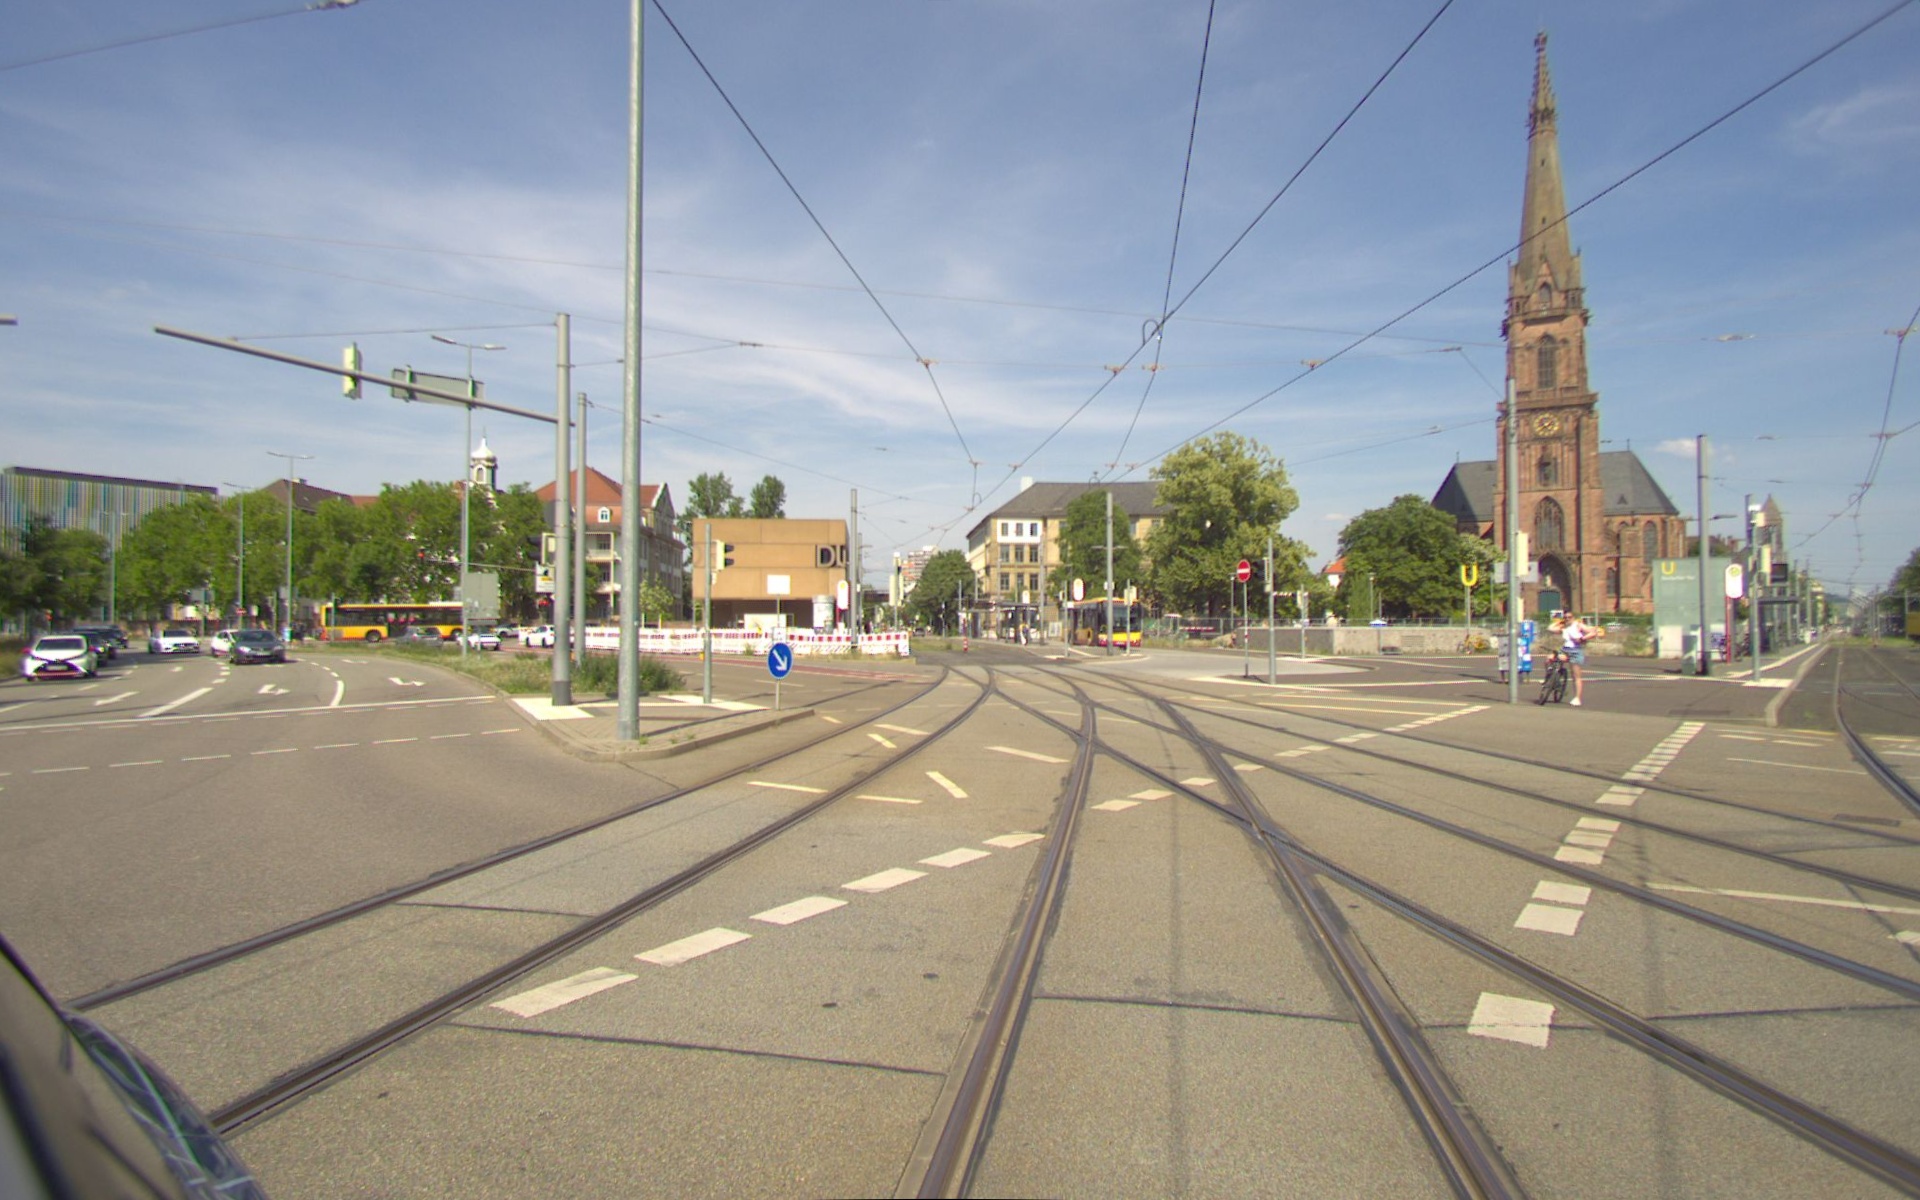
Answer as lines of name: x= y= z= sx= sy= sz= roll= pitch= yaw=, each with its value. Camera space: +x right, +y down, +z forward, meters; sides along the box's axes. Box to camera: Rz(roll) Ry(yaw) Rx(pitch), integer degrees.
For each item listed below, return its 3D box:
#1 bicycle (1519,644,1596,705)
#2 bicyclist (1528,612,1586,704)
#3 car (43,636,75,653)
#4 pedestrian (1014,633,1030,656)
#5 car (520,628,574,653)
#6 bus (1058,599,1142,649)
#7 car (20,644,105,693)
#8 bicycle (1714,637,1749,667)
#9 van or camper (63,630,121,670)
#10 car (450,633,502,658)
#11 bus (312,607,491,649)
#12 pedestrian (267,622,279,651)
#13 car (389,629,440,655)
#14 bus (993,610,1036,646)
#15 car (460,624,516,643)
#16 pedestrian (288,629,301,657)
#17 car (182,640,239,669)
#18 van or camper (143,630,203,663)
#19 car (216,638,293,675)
bicycle: x=11.306 y=1.403 z=19.140 sx=1.820 sy=1.092 sz=0.752 roll=4 pitch=-4 yaw=-42
bicyclist: x=11.291 y=1.089 z=19.149 sx=0.765 sy=1.697 sz=0.752 roll=4 pitch=-4 yaw=-42
car: x=-73.500 y=3.639 z=82.564 sx=3.483 sy=1.303 sz=1.471 roll=-2 pitch=0 yaw=40
pedestrian: x=3.810 y=2.733 z=62.534 sx=0.530 sy=1.377 sz=0.914 roll=-1 pitch=0 yaw=-32
car: x=-25.402 y=2.455 z=62.209 sx=1.776 sy=1.431 sz=4.004 roll=-1 pitch=0 yaw=-42
bus: x=8.505 y=1.377 z=63.242 sx=2.717 sy=2.703 sz=11.801 roll=-1 pitch=0 yaw=-4
car: x=-29.990 y=2.241 z=33.914 sx=1.655 sy=1.486 sz=3.769 roll=1 pitch=-2 yaw=-35
bicycle: x=29.082 y=1.956 z=38.150 sx=1.635 sy=1.079 sz=0.415 roll=-1 pitch=-2 yaw=-30
van or camper: x=-44.928 y=2.562 z=52.356 sx=4.922 sy=1.902 sz=1.706 roll=-2 pitch=0 yaw=43
car: x=-27.792 y=2.572 z=58.024 sx=1.575 sy=1.296 sz=4.004 roll=-1 pitch=0 yaw=-42
bus: x=-43.177 y=2.181 z=78.654 sx=11.940 sy=3.062 sz=2.805 roll=1 pitch=-2 yaw=-30
pedestrian: x=-40.693 y=2.143 z=59.983 sx=0.532 sy=1.686 sz=0.754 roll=1 pitch=-2 yaw=-32
car: x=-30.601 y=2.322 z=56.698 sx=1.575 sy=1.296 sz=4.004 roll=-1 pitch=0 yaw=-42
bus: x=5.211 y=2.759 z=99.340 sx=2.717 sy=3.348 sz=11.799 roll=0 pitch=-2 yaw=-4
car: x=-41.393 y=2.921 z=88.833 sx=1.755 sy=1.454 sz=4.064 roll=-2 pitch=0 yaw=35
pedestrian: x=-40.271 y=2.602 z=61.229 sx=0.633 sy=1.686 sz=0.754 roll=1 pitch=-2 yaw=-32
car: x=-37.274 y=2.667 z=50.314 sx=3.483 sy=1.303 sz=1.471 roll=-2 pitch=0 yaw=40
van or camper: x=-46.481 y=2.710 z=59.753 sx=4.920 sy=1.902 sz=1.894 roll=-2 pitch=-2 yaw=41
car: x=-30.302 y=2.404 z=43.453 sx=4.115 sy=1.435 sz=1.630 roll=-2 pitch=0 yaw=39
